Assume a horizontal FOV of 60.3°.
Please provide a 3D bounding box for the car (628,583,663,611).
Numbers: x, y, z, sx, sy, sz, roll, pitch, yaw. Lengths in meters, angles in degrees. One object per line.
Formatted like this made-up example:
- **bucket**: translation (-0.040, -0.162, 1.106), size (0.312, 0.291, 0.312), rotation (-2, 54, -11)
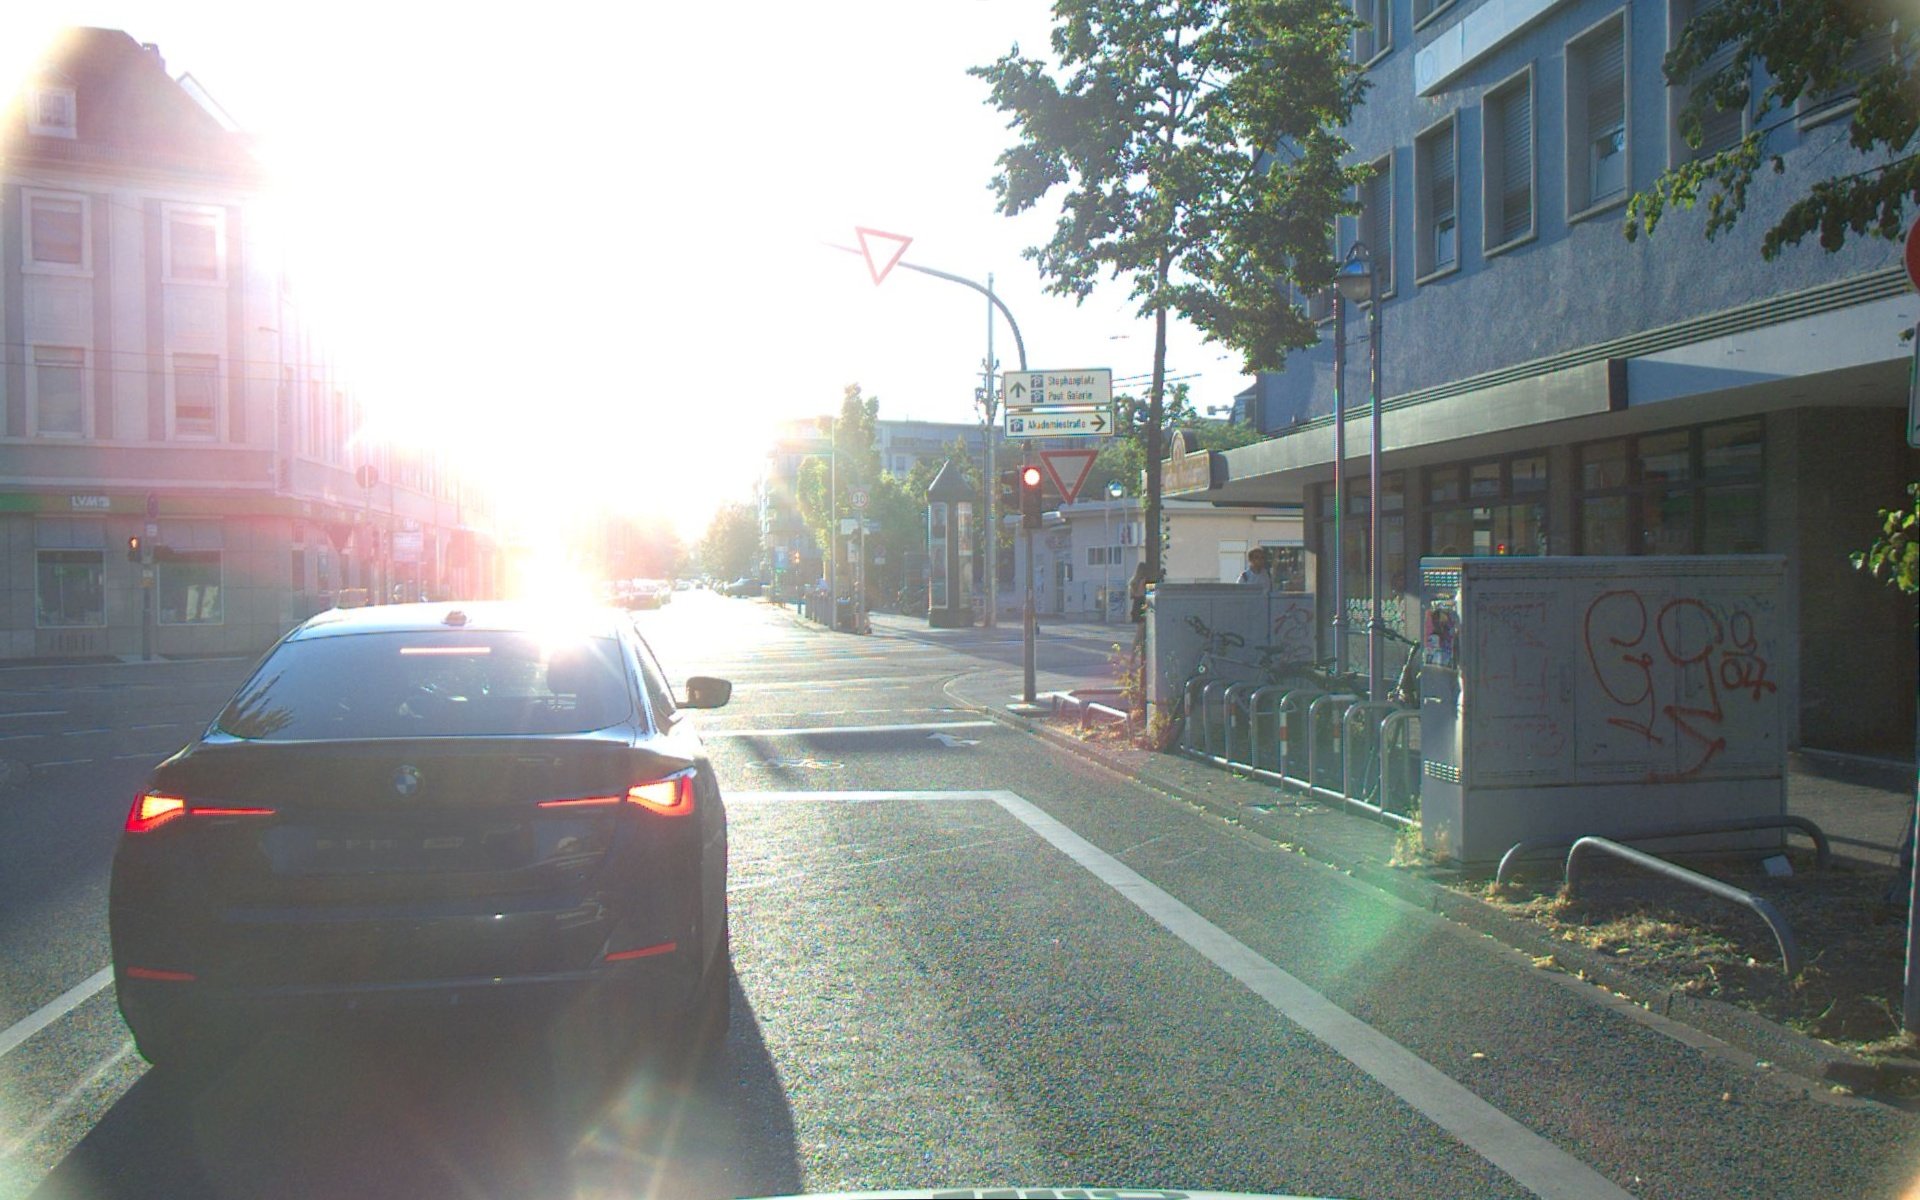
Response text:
- **car**: translation (-17.937, -0.178, 94.374), size (1.784, 1.545, 3.992), rotation (-1, 1, -9)

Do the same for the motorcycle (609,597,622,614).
- **motorcycle**: translation (-19.461, 0.286, 93.469), size (0.564, 0.931, 2.196), rotation (1, 0, -8)

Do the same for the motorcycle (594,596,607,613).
- **motorcycle**: translation (-20.388, 0.269, 93.829), size (0.564, 0.931, 2.196), rotation (1, 0, -8)

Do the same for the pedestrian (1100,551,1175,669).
- **pedestrian**: translation (2.991, 0.156, 27.852), size (0.990, 1.892, 0.634), rotation (-5, 2, -29)

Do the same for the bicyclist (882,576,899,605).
- **bicyclist**: translation (-3.714, -0.485, 88.443), size (0.865, 1.532, 0.612), rotation (1, 0, 3)

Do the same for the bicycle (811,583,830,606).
- **bicycle**: translation (-7.289, -0.264, 86.205), size (0.541, 1.179, 2.134), rotation (1, 0, -17)

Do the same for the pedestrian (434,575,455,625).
- **pedestrian**: translation (-19.822, 0.014, 63.618), size (0.631, 1.909, 0.630), rotation (1, 0, -9)

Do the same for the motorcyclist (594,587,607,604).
- **motorcyclist**: translation (-20.374, -0.272, 93.830), size (0.564, 0.931, 2.196), rotation (1, 0, -8)

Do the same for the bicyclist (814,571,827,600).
- **bicyclist**: translation (-7.264, -0.745, 86.133), size (0.541, 1.507, 0.719), rotation (1, 0, -17)

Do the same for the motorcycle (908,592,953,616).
- **motorcycle**: translation (-1.202, 0.166, 67.862), size (1.644, 0.955, 0.851), rotation (-1, 1, -20)

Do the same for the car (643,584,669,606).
- **car**: translation (-22.559, -0.406, 122.858), size (1.784, 1.545, 3.992), rotation (-1, 1, -9)

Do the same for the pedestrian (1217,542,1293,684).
- **pedestrian**: translation (3.993, 0.168, 22.422), size (0.820, 1.874, 0.677), rotation (-1, 0, -9)

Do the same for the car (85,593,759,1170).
- **car**: translation (-1.745, 0.714, 6.456), size (1.705, 1.453, 4.214), rotation (0, 0, -10)

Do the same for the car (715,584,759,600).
- **car**: translation (-21.716, -0.787, 161.171), size (3.962, 1.545, 1.798), rotation (-2, 1, -40)

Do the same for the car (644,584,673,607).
- **car**: translation (-20.524, -0.315, 112.708), size (1.784, 1.545, 3.992), rotation (-1, 1, -9)

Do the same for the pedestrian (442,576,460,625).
- **pedestrian**: translation (-19.841, 0.010, 64.469), size (0.607, 1.909, 0.674), rotation (1, 0, -22)

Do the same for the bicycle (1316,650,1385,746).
- **bicycle**: translation (3.594, 0.890, 15.273), size (0.244, 0.810, 1.114), rotation (1, 0, -7)

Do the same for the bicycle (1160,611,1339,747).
- **bicycle**: translation (2.654, 0.715, 15.183), size (1.582, 1.191, 0.318), rotation (-1, 0, -7)

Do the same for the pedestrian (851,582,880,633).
- **pedestrian**: translation (-2.879, 0.220, 50.488), size (0.725, 1.555, 0.468), rotation (1, 0, -30)

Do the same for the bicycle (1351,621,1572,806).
- **bicycle**: translation (3.454, 0.776, 11.417), size (1.413, 1.241, 0.383), rotation (1, 0, -8)

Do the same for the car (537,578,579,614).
- **car**: translation (-21.063, -0.207, 86.788), size (1.784, 1.819, 3.992), rotation (-1, 1, -9)

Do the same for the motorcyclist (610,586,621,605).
- **motorcyclist**: translation (-19.436, -0.254, 93.370), size (0.564, 1.013, 0.701), rotation (1, 0, -9)
